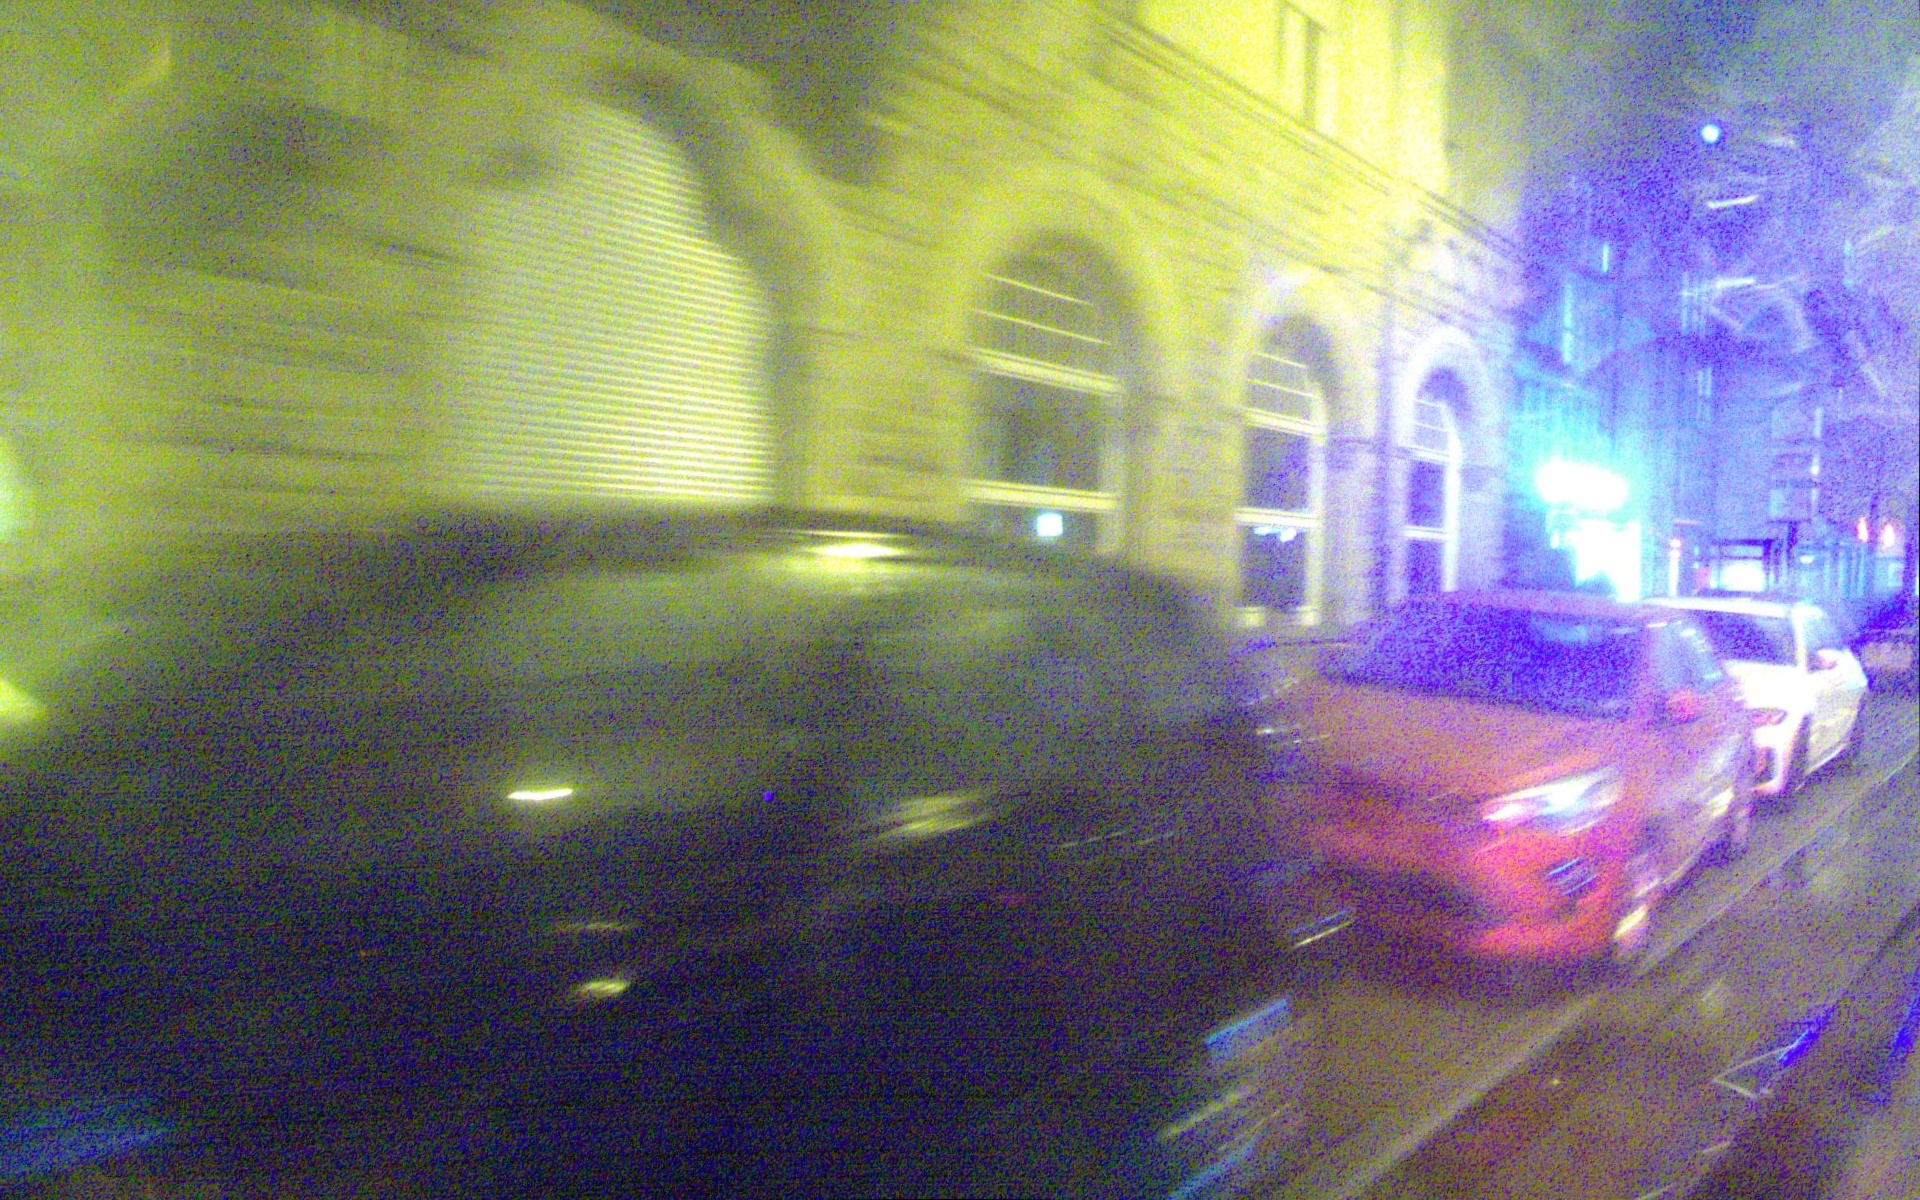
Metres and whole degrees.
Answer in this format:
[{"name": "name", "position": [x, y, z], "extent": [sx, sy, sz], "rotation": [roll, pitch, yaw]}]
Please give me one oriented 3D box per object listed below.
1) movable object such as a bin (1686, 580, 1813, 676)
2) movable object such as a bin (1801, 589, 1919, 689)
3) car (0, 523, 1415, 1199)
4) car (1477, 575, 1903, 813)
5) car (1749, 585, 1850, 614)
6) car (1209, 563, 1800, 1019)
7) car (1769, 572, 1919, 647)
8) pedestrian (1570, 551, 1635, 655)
[{"name": "movable object such as a bin", "position": [12.774, 0.425, 16.405], "extent": [1.029, 1.447, 1.315], "rotation": [0, 2, -31]}, {"name": "movable object such as a bin", "position": [14.125, 0.574, 15.608], "extent": [1.321, 1.447, 1.196], "rotation": [2, 1, 13]}, {"name": "car", "position": [-0.867, 0.659, 1.896], "extent": [3.824, 1.517, 1.692], "rotation": [0, 2, -42]}, {"name": "car", "position": [6.372, 0.573, 8.641], "extent": [4.339, 1.482, 1.997], "rotation": [0, 2, -41]}, {"name": "car", "position": [45.814, -0.042, 55.274], "extent": [1.861, 1.504, 3.996], "rotation": [0, 1, -39]}, {"name": "car", "position": [3.099, 0.613, 5.365], "extent": [3.828, 1.517, 1.691], "rotation": [0, 2, -45]}, {"name": "car", "position": [22.651, 0.273, 24.436], "extent": [1.749, 1.548, 4.524], "rotation": [0, 5, -41]}, {"name": "pedestrian", "position": [11.578, 0.043, 18.244], "extent": [0.612, 1.810, 0.705], "rotation": [2, 2, -37]}]
